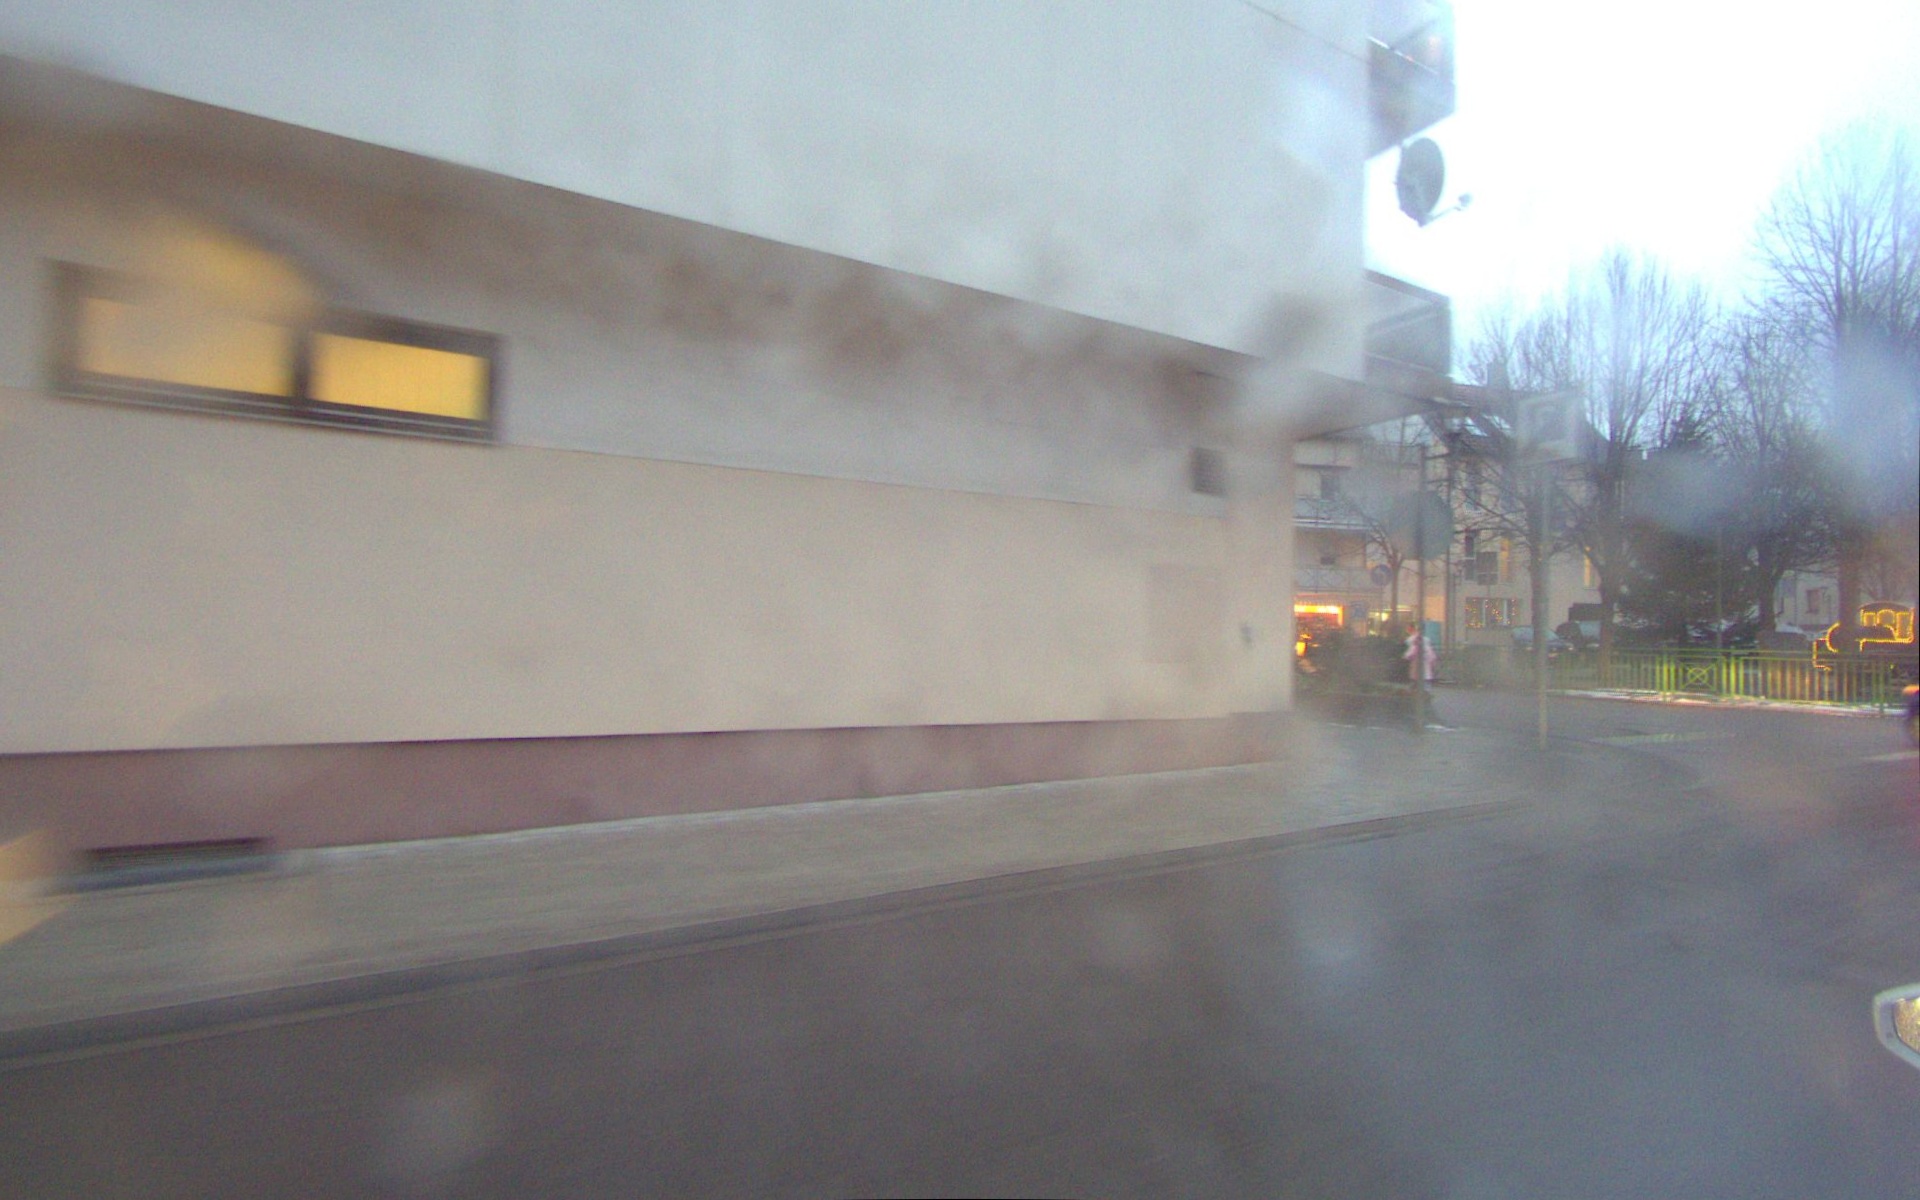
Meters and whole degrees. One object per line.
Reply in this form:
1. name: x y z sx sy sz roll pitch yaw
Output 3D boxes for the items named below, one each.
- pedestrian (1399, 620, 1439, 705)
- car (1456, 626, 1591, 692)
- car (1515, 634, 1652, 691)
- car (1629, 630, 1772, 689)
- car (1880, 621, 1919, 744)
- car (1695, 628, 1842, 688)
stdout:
1. pedestrian: 8.229 1.101 18.019 0.638 1.478 0.650 1 0 24
2. car: 18.553 1.901 33.294 1.786 2.014 3.993 1 -1 -10
3. car: 21.152 2.073 34.295 1.786 1.753 3.993 1 -1 -10
4. car: 26.266 2.054 35.785 1.786 1.936 3.993 1 -1 -10
5. car: 12.468 1.013 11.191 1.610 1.501 3.273 1 0 5
6. car: 29.166 2.049 36.405 1.786 2.025 3.993 1 -1 -10
